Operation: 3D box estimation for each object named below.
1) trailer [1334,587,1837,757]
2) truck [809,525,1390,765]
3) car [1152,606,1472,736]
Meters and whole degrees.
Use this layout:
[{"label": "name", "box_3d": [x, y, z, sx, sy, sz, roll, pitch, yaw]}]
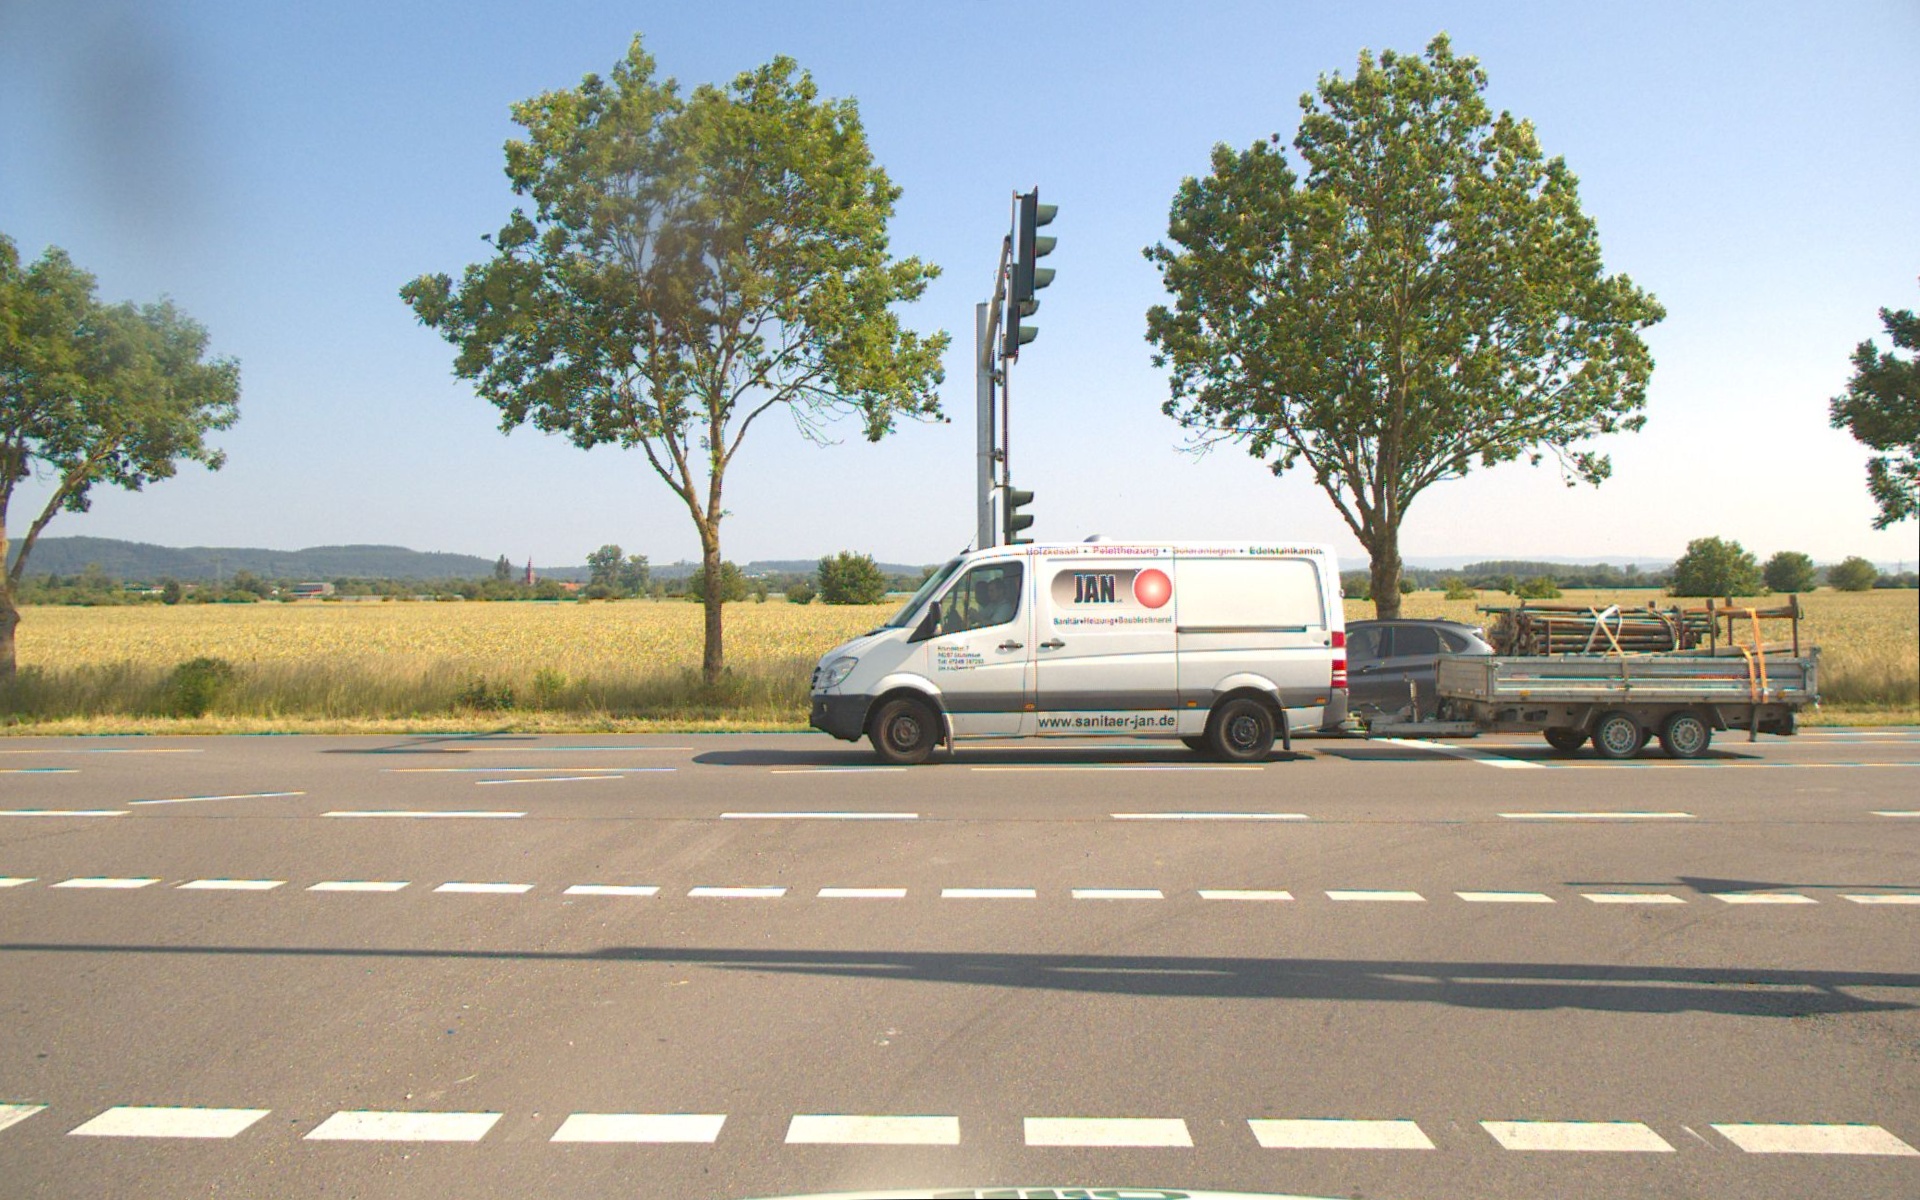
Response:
[{"label": "trailer", "box_3d": [6.880, 0.776, 18.564, 4.895, 1.768, 1.980, 0, -1, -2]}, {"label": "truck", "box_3d": [1.409, 0.461, 18.149, 6.057, 2.447, 2.069, 0, -1, -5]}, {"label": "car", "box_3d": [4.700, 0.954, 22.489, 3.906, 1.654, 1.889, 0, -2, -2]}]
